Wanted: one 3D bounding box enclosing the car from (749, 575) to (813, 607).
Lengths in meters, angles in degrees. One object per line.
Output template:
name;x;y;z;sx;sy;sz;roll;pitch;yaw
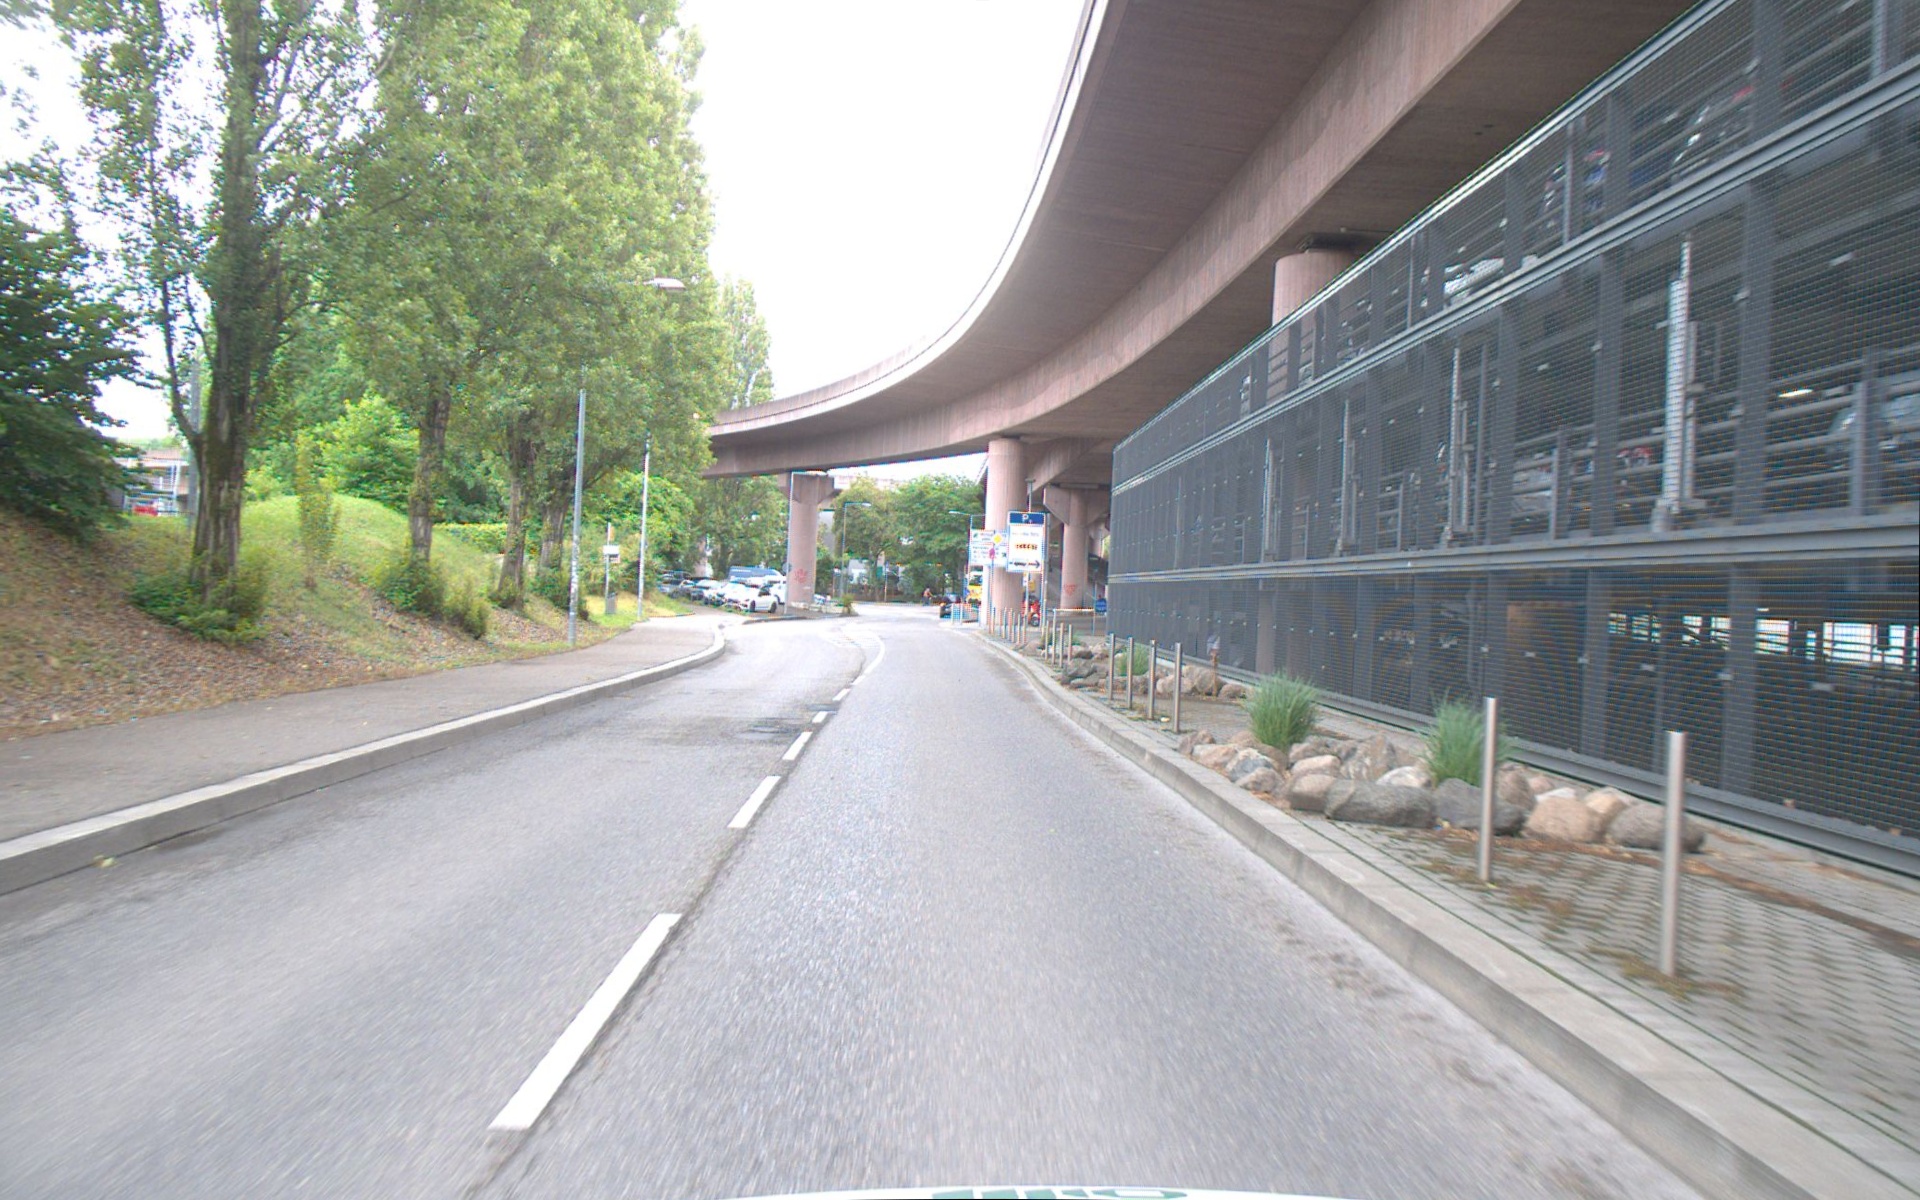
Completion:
car;-13.842;-0.697;128.045;4.460;2.147;1.852;3;0;7

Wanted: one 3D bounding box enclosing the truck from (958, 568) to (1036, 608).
truck;3.655;-1.196;160.213;2.884;3.540;8.201;6;5;40

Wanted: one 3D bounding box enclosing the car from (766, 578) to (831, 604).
car;-11.926;-0.660;122.194;4.288;1.633;1.956;5;1;12

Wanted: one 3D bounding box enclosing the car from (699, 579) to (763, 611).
car;-14.025;-0.300;101.634;1.953;1.609;4.401;6;0;20

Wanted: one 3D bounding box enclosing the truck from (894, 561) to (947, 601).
truck;-4.320;-2.101;177.085;3.023;3.934;7.996;1;2;-22

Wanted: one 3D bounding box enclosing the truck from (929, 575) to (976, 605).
truck;-0.863;-1.097;178.531;2.875;2.949;6.516;1;2;-22

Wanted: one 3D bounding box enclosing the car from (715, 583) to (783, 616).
car;-12.395;-0.014;97.543;1.953;1.505;4.829;6;-1;19

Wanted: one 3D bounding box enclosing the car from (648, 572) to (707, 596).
car;-20.135;-1.118;118.167;1.820;1.513;4.888;5;1;22

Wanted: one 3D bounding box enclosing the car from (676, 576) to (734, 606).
car;-16.580;-0.568;107.790;1.819;1.720;4.163;3;0;22

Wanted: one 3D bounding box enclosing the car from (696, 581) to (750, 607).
car;-15.048;-0.383;105.144;1.750;1.479;3.746;2;0;22

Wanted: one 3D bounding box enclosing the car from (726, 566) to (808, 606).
car;-15.237;-1.132;130.916;6.048;2.772;2.368;3;0;1

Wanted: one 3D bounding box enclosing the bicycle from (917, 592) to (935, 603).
bicycle;-3.297;-0.244;158.765;0.794;1.117;2.107;1;0;-32

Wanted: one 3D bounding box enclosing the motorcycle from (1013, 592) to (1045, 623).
motorcycle;3.209;0.323;77.510;0.783;1.390;2.119;1;1;-18

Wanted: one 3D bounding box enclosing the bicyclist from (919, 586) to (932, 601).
bicyclist;-3.328;-0.670;158.834;0.788;1.430;1.055;1;0;-32

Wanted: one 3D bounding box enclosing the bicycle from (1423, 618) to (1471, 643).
bicycle;22.292;1.409;75.740;2.013;1.041;0.396;2;1;4

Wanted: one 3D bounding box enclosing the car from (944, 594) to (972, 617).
car;-0.175;0.418;127.043;1.953;1.708;4.558;2;0;-2

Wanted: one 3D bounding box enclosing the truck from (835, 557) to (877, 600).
truck;-12.696;-2.653;201.114;3.152;4.862;8.012;1;2;-17
